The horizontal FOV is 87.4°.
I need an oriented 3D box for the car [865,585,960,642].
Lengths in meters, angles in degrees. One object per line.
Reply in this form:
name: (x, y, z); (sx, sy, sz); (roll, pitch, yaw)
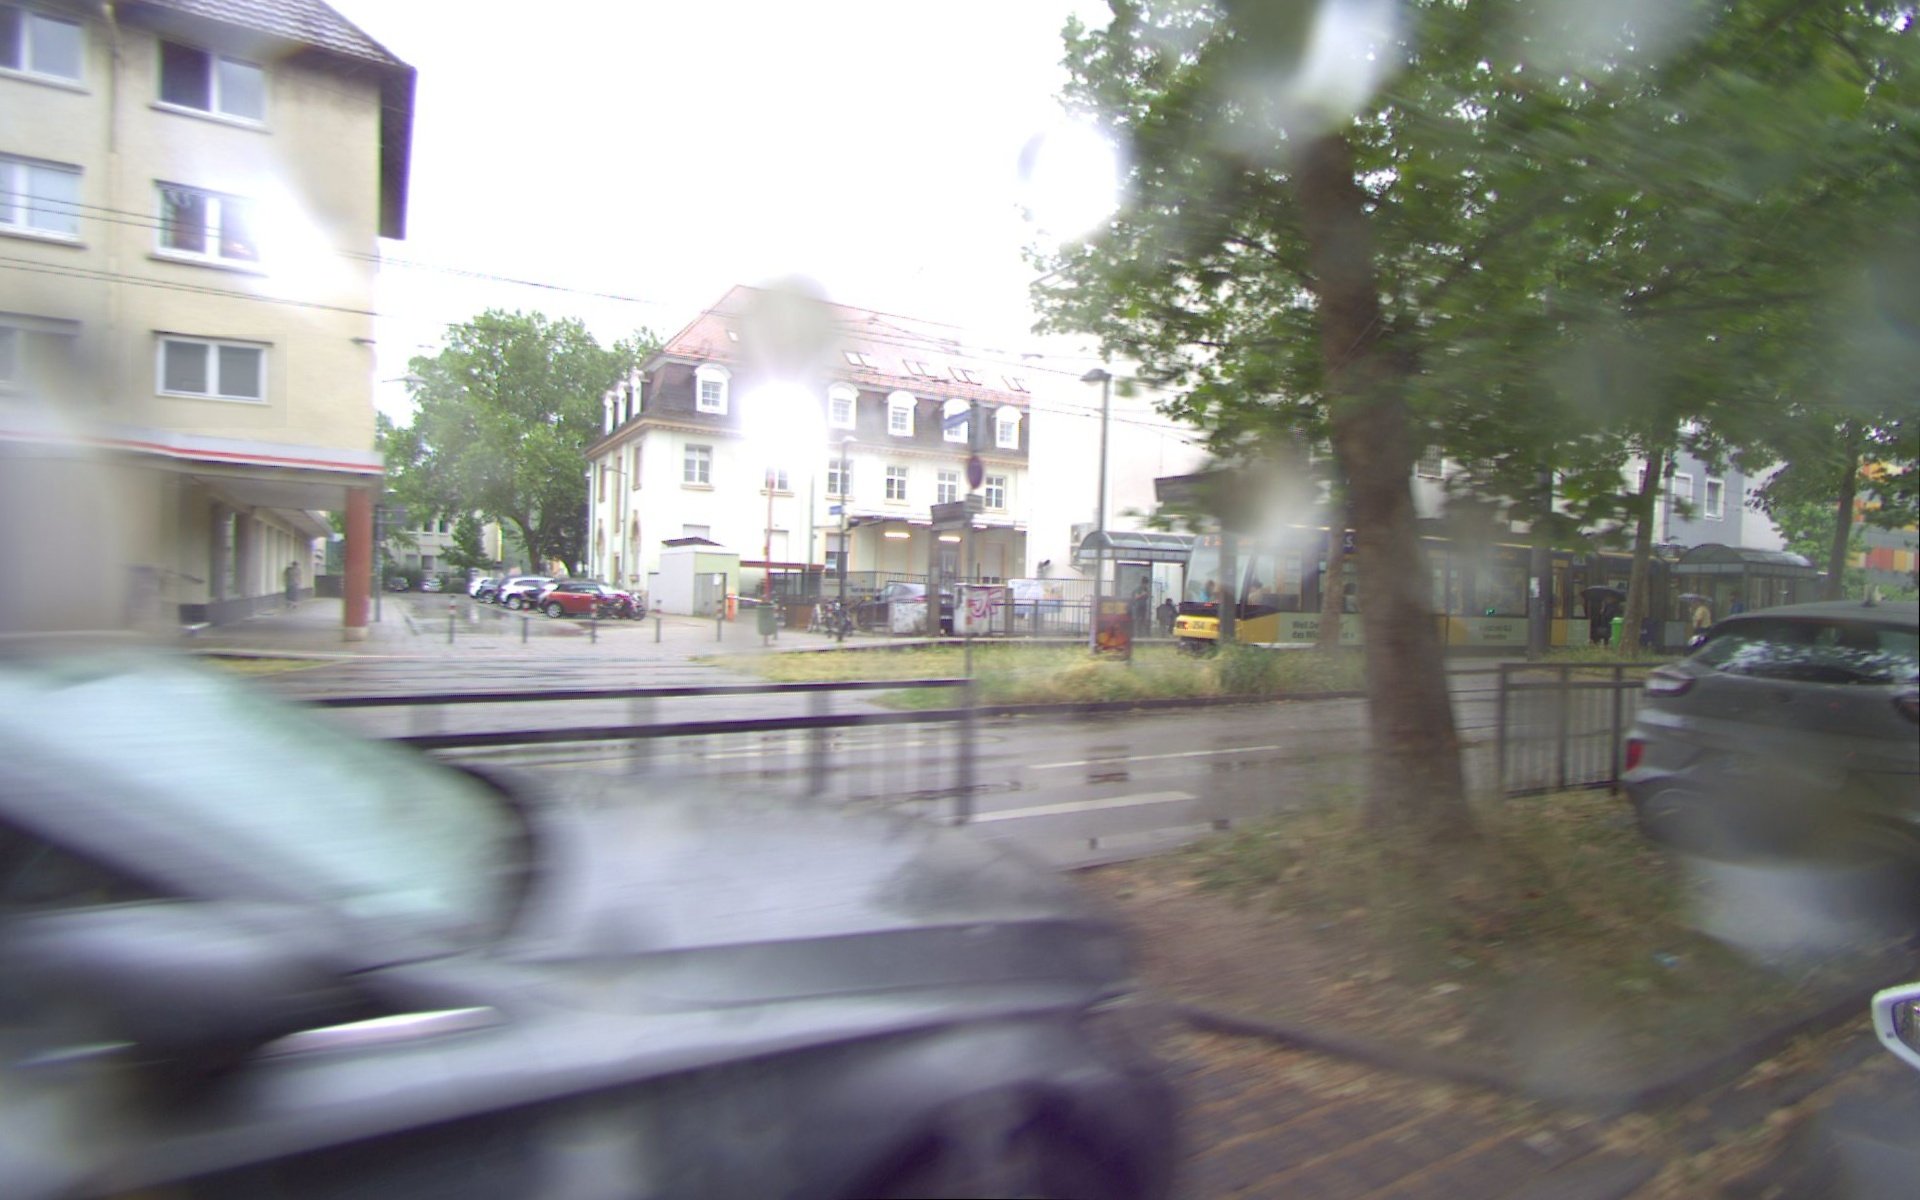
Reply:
car: (-1.520, 0.369, 30.720); (1.589, 1.562, 3.664); (1, 1, -25)

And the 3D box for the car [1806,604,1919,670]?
car: (25.354, 0.995, 27.662); (3.955, 1.634, 1.983); (1, 1, -31)

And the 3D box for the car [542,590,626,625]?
car: (-15.625, 0.297, 41.776); (2.966, 1.242, 1.345); (2, 2, -2)

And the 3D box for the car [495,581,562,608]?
car: (-22.438, -0.309, 52.318); (2.970, 1.242, 1.343); (2, 2, -10)

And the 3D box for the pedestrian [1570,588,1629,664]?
pedestrian: (14.909, 0.590, 23.425); (0.862, 1.726, 0.813); (1, 1, -31)

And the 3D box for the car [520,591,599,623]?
car: (-18.006, 0.317, 45.238); (2.966, 1.242, 1.345); (2, 2, -2)

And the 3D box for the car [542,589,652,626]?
car: (-14.132, 0.286, 39.233); (3.778, 1.242, 1.345); (2, 2, -2)

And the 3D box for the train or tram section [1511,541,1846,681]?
train or tram section: (23.024, 0.570, 31.608); (14.511, 3.605, 3.089); (3, -1, -31)

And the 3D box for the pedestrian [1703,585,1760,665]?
pedestrian: (20.195, 0.637, 26.291); (0.810, 2.041, 0.866); (1, 1, -27)

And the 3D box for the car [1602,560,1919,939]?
car: (5.857, 0.703, 5.864); (4.302, 1.657, 1.691); (2, 0, -29)

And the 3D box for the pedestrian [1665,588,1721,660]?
pedestrian: (18.234, 0.586, 24.984); (0.862, 1.726, 0.813); (1, 1, -31)

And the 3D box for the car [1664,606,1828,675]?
car: (18.196, 0.917, 23.238); (3.713, 1.361, 1.729); (1, 3, -31)

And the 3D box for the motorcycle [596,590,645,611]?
motorcycle: (-12.662, 0.032, 37.464); (1.642, 0.719, 0.521); (2, 0, -2)

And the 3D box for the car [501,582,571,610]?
car: (-21.175, -0.217, 50.248); (2.970, 1.242, 1.343); (2, 2, -10)

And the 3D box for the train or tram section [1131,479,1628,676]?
train or tram section: (10.689, -0.159, 24.122); (14.415, 3.605, 3.089); (3, -1, -32)

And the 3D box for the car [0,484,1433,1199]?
car: (-1.523, 0.615, 1.546); (4.561, 1.524, 1.819); (2, 2, -31)
